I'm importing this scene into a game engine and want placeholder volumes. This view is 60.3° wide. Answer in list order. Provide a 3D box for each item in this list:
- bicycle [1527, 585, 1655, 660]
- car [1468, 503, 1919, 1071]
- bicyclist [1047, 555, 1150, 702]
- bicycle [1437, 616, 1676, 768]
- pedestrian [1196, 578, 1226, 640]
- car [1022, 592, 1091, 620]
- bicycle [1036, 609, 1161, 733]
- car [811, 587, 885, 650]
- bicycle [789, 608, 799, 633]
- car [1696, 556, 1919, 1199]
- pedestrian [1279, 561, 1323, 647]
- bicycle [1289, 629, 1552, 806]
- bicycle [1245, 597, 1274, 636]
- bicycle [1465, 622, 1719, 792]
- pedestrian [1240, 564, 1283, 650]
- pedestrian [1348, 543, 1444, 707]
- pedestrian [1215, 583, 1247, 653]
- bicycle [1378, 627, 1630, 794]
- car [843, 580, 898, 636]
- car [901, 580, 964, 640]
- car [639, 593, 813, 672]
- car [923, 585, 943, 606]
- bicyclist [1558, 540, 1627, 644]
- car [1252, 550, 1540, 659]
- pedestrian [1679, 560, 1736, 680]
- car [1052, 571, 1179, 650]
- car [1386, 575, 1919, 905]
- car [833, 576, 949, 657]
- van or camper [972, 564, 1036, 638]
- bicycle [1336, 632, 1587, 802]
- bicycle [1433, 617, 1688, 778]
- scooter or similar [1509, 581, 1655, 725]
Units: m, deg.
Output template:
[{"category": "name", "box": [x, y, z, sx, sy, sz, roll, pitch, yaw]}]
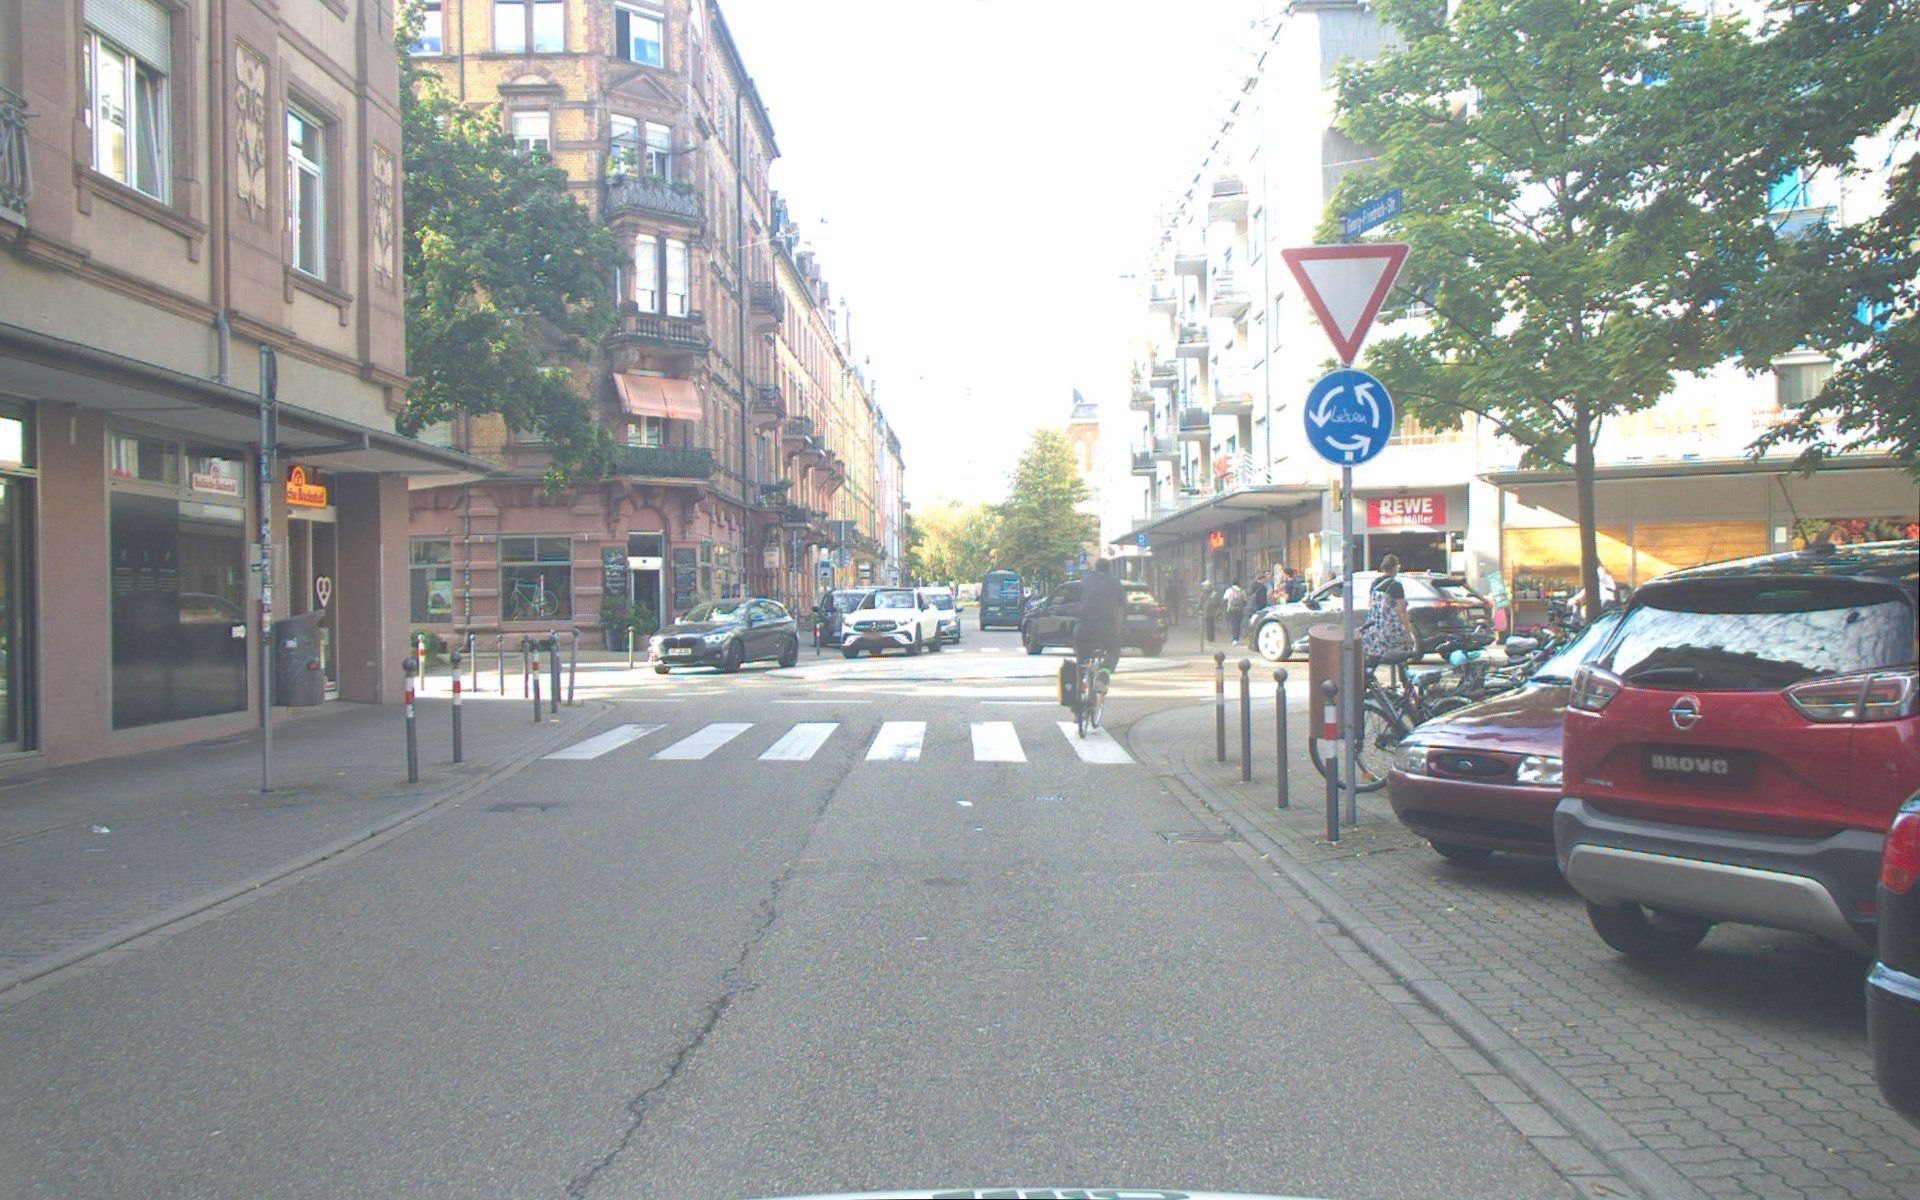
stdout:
[{"category": "bicycle", "box": [10.594, 0.381, 27.769, 1.930, 1.220, 0.711, -1, 0, 27]}, {"category": "car", "box": [4.336, 0.430, 6.622, 4.288, 1.673, 1.806, -4, 1, -26]}, {"category": "bicyclist", "box": [1.471, 0.290, 17.524, 0.914, 1.510, 0.747, 0, 0, 21]}, {"category": "bicycle", "box": [4.539, 0.684, 12.737, 0.384, 1.058, 1.903, -4, 1, -28]}, {"category": "pedestrian", "box": [6.772, 0.235, 44.679, 0.729, 1.657, 0.813, -1, 0, 12]}, {"category": "car", "box": [5.703, 0.359, 97.801, 3.907, 1.512, 1.999, -2, 0, -2]}, {"category": "bicycle", "box": [1.511, 0.707, 17.559, 0.652, 1.198, 2.497, 0, 0, 21]}, {"category": "car", "box": [-3.439, 0.531, 51.312, 1.745, 1.754, 4.447, 0, 2, 3]}, {"category": "bicycle", "box": [-6.694, 0.812, 66.685, 0.353, 0.963, 1.714, 0, 0, -4]}, {"category": "car", "box": [4.092, 0.601, 3.898, 4.344, 1.482, 1.928, -1, 0, -25]}, {"category": "pedestrian", "box": [7.597, 0.093, 36.848, 0.850, 1.883, 0.613, -1, 0, 5]}, {"category": "bicycle", "box": [3.082, 0.760, 11.262, 0.542, 1.058, 1.839, -5, 1, -28]}, {"category": "bicycle", "box": [8.157, 0.437, 45.121, 0.356, 1.034, 1.429, -1, 0, -7]}, {"category": "bicycle", "box": [4.314, 0.705, 11.438, 0.343, 1.058, 1.841, -4, 0, -26]}, {"category": "pedestrian", "box": [6.733, 0.147, 36.965, 0.850, 1.883, 0.613, -1, 0, 5]}, {"category": "pedestrian", "box": [4.939, 0.273, 18.735, 0.769, 1.811, 0.789, -2, 0, 39]}, {"category": "pedestrian", "box": [6.806, 0.452, 41.529, 0.725, 1.742, 0.734, -1, 0, 12]}, {"category": "bicycle", "box": [3.806, 0.747, 11.763, 0.343, 1.058, 2.001, -4, 1, -26]}, {"category": "car", "box": [-3.415, 0.292, 63.751, 1.953, 2.049, 3.999, -2, 0, -2]}, {"category": "car", "box": [-0.848, 0.301, 54.036, 1.756, 1.822, 4.737, -2, 0, 2]}, {"category": "car", "box": [-4.556, 0.618, 32.858, 1.713, 1.461, 4.213, 0, -1, 19]}, {"category": "car", "box": [-2.794, -0.468, 171.675, 1.953, 2.049, 4.000, -1, 0, 0]}, {"category": "bicyclist", "box": [10.620, -0.125, 27.765, 0.992, 1.697, 0.943, -1, 0, 24]}, {"category": "car", "box": [7.883, 0.076, 30.272, 2.025, 1.754, 4.773, -4, 2, -41]}, {"category": "pedestrian", "box": [11.290, 0.293, 24.996, 0.615, 1.769, 0.776, -1, 0, 13]}, {"category": "car", "box": [3.452, 0.228, 37.376, 1.956, 1.646, 3.992, -1, 0, -8]}, {"category": "car", "box": [4.469, 0.616, 9.254, 3.886, 1.482, 1.754, -1, 0, -28]}, {"category": "car", "box": [-1.667, 0.363, 41.867, 1.901, 1.752, 4.855, -2, 2, 10]}, {"category": "van or camper", "box": [1.881, 0.032, 72.274, 2.480, 3.090, 4.457, -1, 0, -2]}, {"category": "bicycle", "box": [3.462, 0.780, 11.586, 0.454, 1.058, 1.839, -4, 1, -28]}, {"category": "bicycle", "box": [4.361, 0.689, 12.162, 0.439, 1.058, 1.888, -4, 1, -28]}, {"category": "scooter or similar", "box": [5.818, 0.484, 15.466, 1.220, 1.296, 0.664, -1, 0, 25]}]
